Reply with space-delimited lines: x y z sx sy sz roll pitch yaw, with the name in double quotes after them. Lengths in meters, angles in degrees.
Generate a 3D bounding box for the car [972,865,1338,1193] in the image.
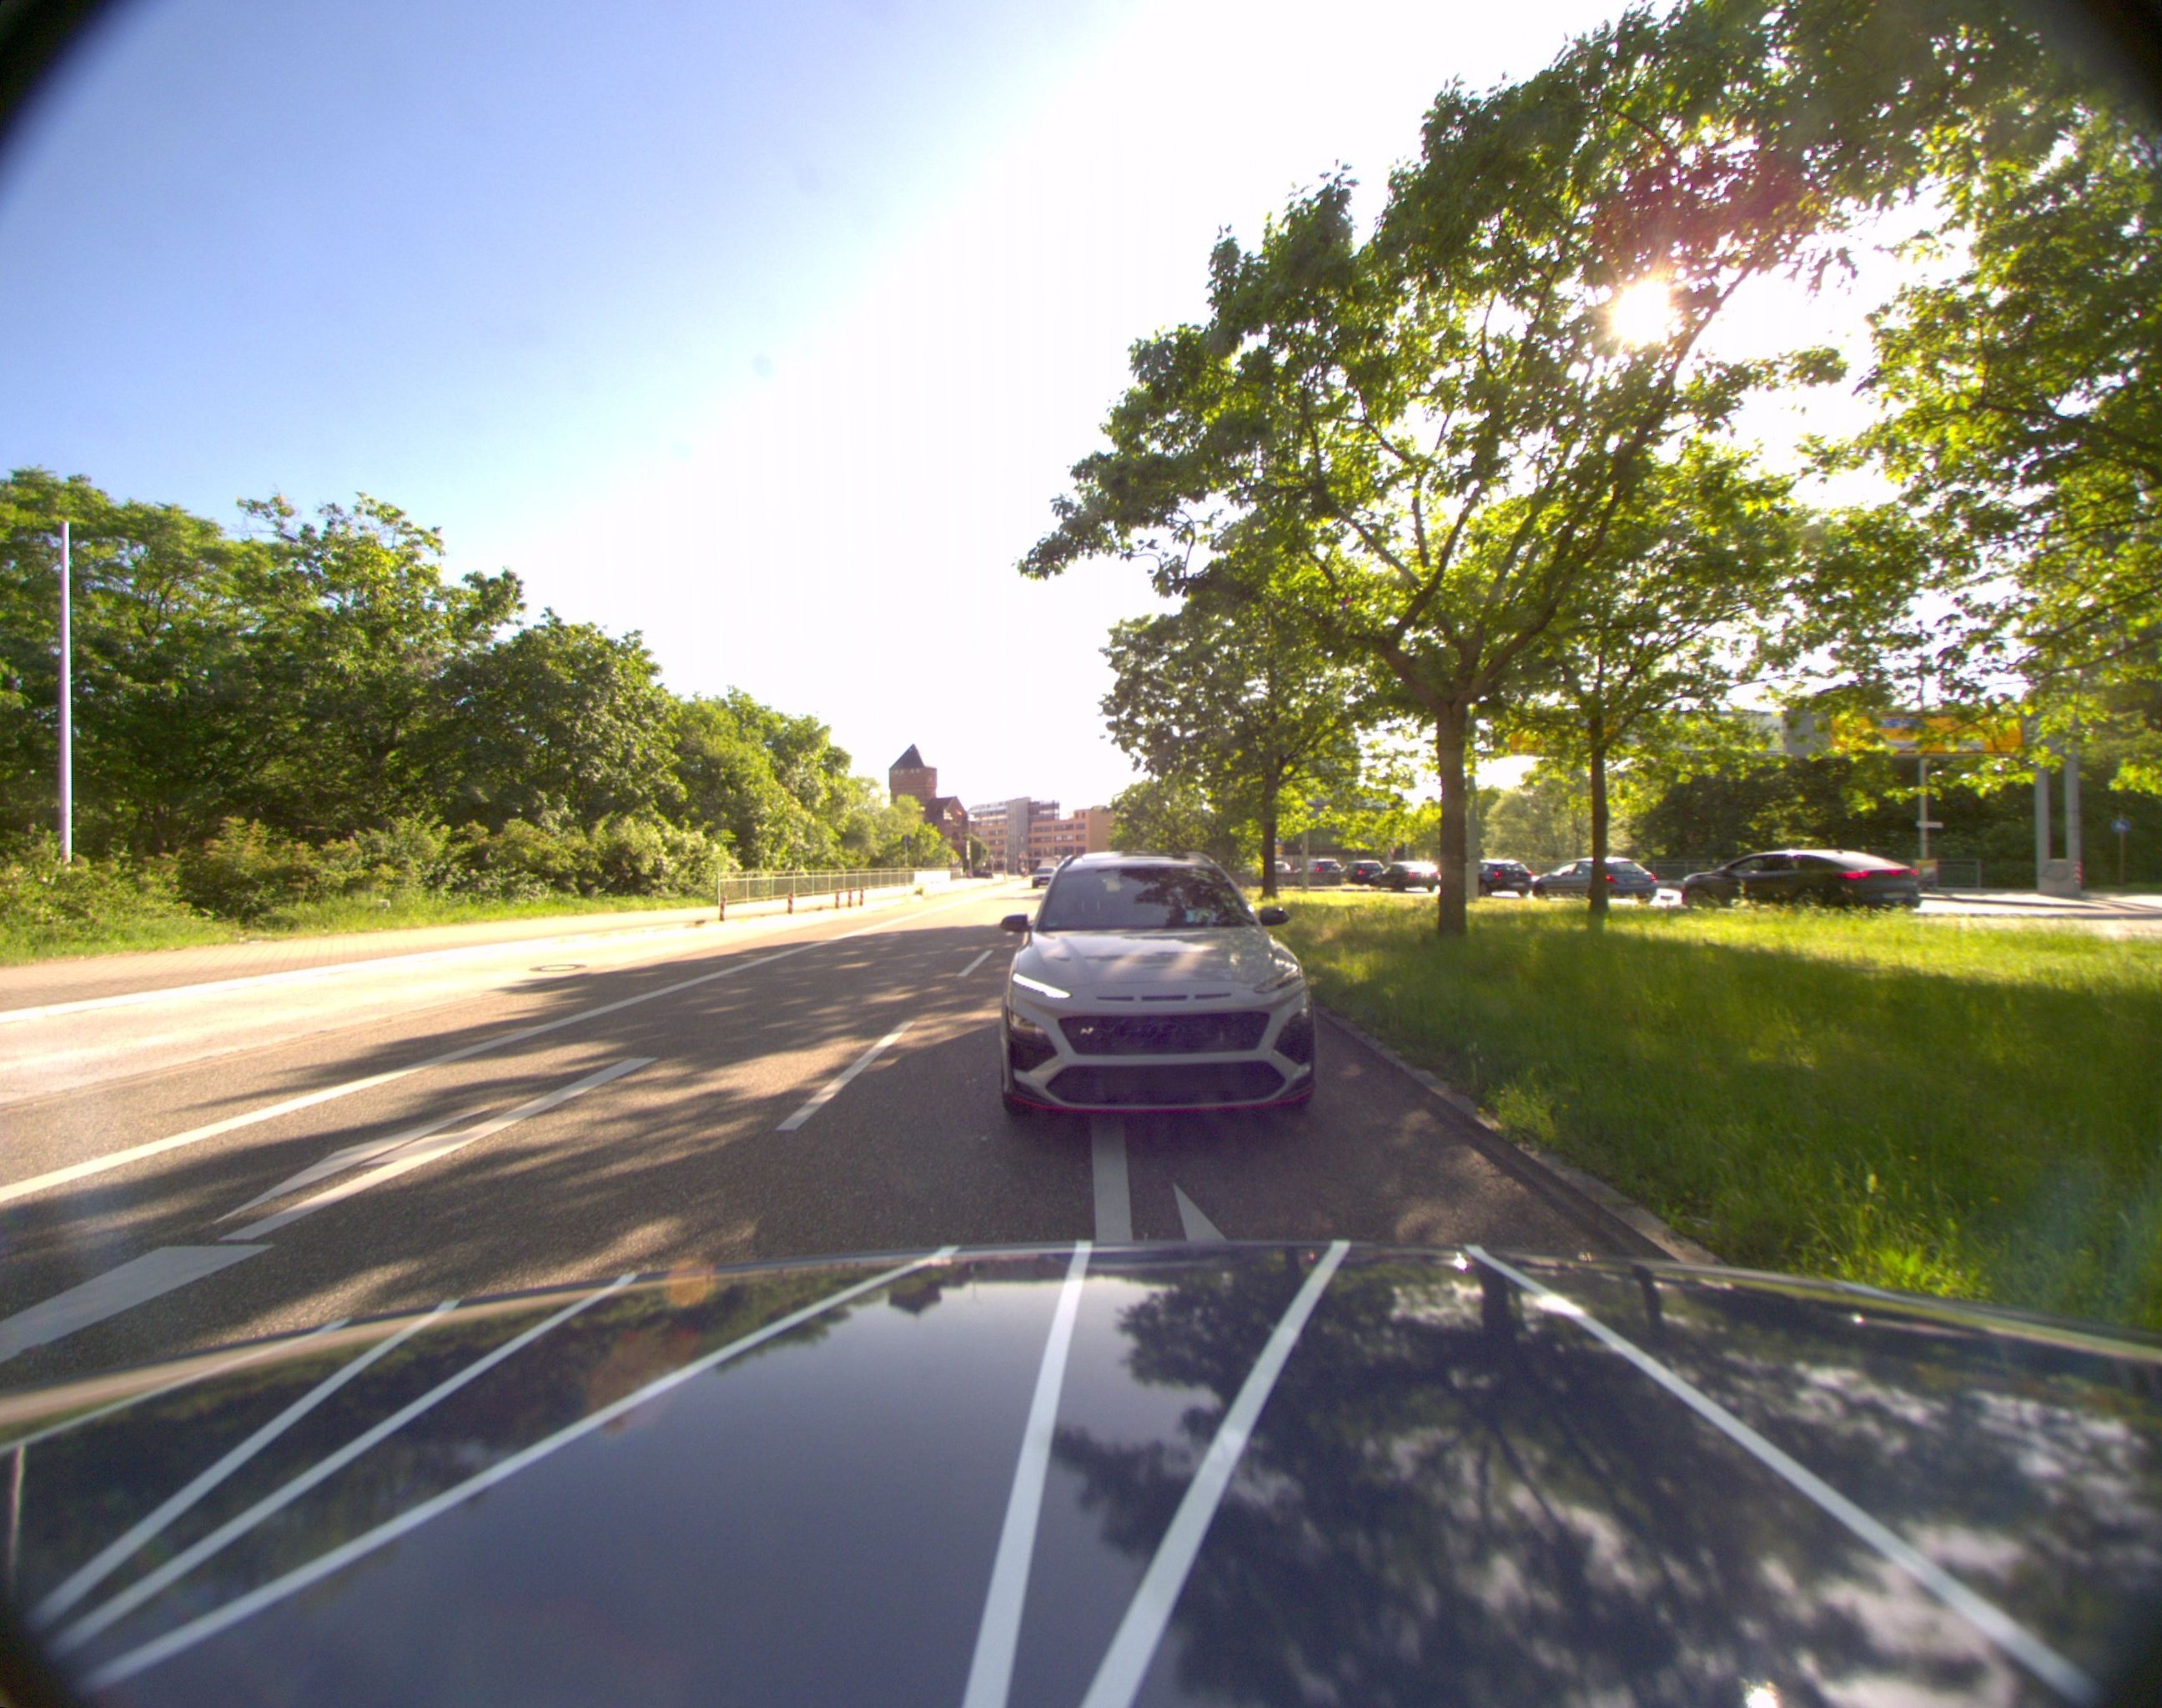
0.386 0.880 5.682 1.752 1.523 3.988 -1 0 1 "car"

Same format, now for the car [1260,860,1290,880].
14.318 1.202 56.146 1.228 1.331 2.882 -1 -3 -6 "car"

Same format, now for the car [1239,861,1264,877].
13.944 1.274 62.321 1.199 1.252 2.768 -1 -2 -6 "car"

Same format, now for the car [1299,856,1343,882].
14.968 0.987 47.554 1.450 1.549 3.202 -1 -2 -6 "car"

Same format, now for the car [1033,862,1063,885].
-2.206 1.301 51.595 1.776 1.395 4.318 -1 0 1 "car"

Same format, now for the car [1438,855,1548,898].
16.186 0.841 30.143 1.875 1.541 4.221 -1 0 -4 "car"

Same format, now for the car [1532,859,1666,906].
16.388 0.877 24.244 1.561 1.355 3.608 -1 -1 -6 "car"

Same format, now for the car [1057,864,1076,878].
-1.431 1.735 77.387 1.785 1.411 4.001 -1 -1 1 "car"

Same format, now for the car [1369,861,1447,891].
15.474 0.992 36.216 1.623 1.305 4.066 -1 0 -6 "car"

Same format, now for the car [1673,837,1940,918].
16.784 0.505 17.968 1.832 1.638 4.458 -1 0 -5 "car"

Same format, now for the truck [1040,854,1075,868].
-5.677 1.598 180.632 3.535 3.231 9.140 -1 0 -37 "truck"

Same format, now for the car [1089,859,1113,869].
4.299 2.144 164.178 2.177 2.001 5.400 -1 0 -36 "car"

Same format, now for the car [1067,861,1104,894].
0.239 1.124 37.627 1.677 1.463 4.151 -1 0 1 "car"

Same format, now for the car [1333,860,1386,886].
15.150 1.027 41.472 1.481 1.331 3.202 -1 -1 -6 "car"
